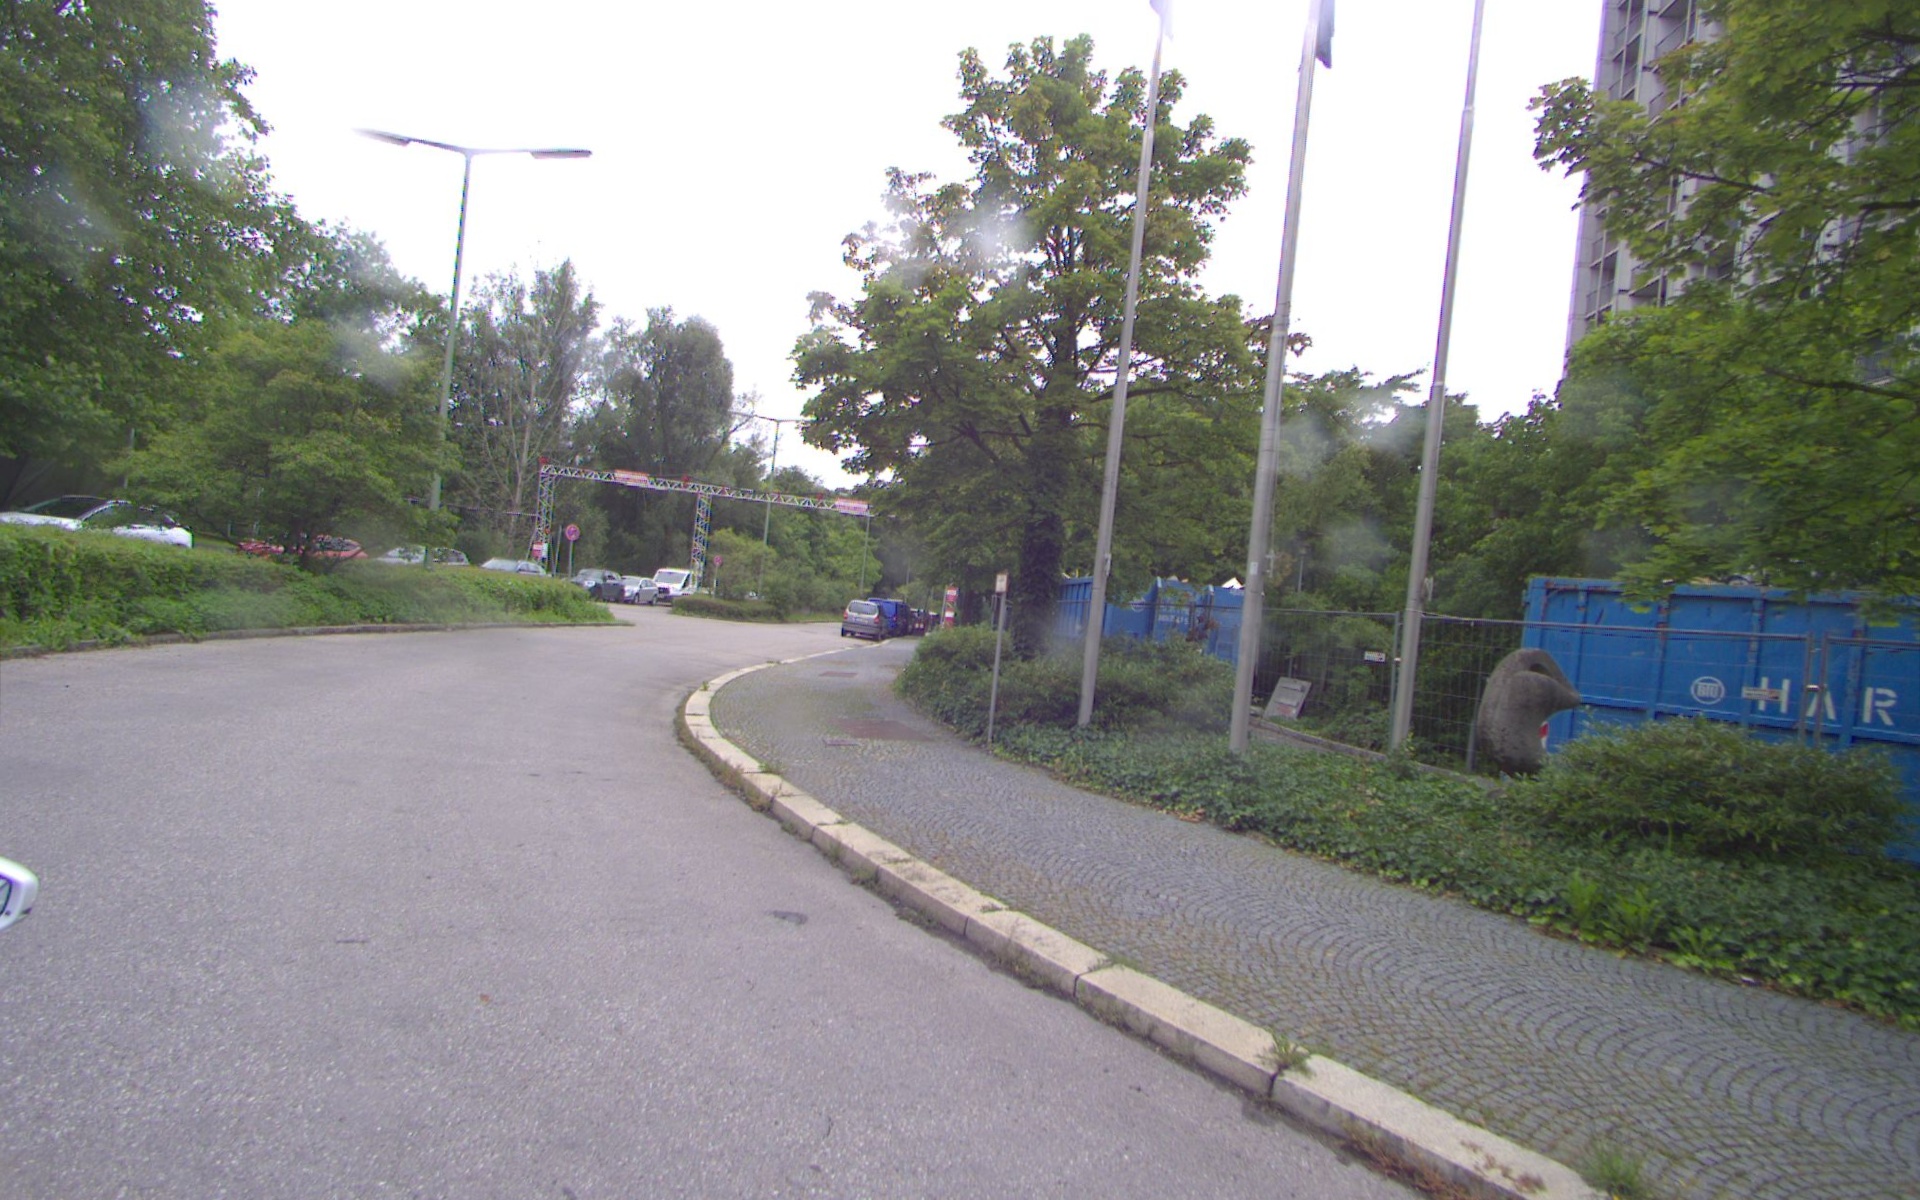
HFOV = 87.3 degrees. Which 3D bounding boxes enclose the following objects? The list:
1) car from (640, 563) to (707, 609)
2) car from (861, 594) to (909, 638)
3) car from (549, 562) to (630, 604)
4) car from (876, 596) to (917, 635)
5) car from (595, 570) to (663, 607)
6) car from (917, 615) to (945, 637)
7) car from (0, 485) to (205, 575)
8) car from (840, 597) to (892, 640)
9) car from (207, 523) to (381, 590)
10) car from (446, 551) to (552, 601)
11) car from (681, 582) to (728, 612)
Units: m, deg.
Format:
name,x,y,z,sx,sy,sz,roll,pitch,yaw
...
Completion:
name,x,y,z,sx,sy,sz,roll,pitch,yaw
car,-16.629,-0.749,58.715,2.165,2.254,4.871,7,-1,2
car,-3.669,0.830,50.066,1.701,1.913,4.329,7,-1,2
car,-17.484,-0.780,47.716,1.962,1.593,4.002,7,-1,5
car,-3.536,0.892,56.907,1.701,1.913,4.329,7,-1,2
car,-17.278,-0.574,52.755,1.962,1.593,4.001,7,-1,2
car,-2.368,2.163,83.838,1.701,1.631,4.002,7,-1,5
car,-19.454,-1.522,22.370,1.962,1.526,4.002,7,-1,5
car,-4.130,0.800,44.661,1.701,1.631,4.001,7,-1,1
car,-18.842,-1.187,28.716,1.962,1.426,4.002,7,-1,5
car,-18.117,-0.896,39.749,1.962,1.593,4.002,7,-1,5
car,-16.089,-0.180,63.555,1.701,1.631,4.001,7,-1,2
